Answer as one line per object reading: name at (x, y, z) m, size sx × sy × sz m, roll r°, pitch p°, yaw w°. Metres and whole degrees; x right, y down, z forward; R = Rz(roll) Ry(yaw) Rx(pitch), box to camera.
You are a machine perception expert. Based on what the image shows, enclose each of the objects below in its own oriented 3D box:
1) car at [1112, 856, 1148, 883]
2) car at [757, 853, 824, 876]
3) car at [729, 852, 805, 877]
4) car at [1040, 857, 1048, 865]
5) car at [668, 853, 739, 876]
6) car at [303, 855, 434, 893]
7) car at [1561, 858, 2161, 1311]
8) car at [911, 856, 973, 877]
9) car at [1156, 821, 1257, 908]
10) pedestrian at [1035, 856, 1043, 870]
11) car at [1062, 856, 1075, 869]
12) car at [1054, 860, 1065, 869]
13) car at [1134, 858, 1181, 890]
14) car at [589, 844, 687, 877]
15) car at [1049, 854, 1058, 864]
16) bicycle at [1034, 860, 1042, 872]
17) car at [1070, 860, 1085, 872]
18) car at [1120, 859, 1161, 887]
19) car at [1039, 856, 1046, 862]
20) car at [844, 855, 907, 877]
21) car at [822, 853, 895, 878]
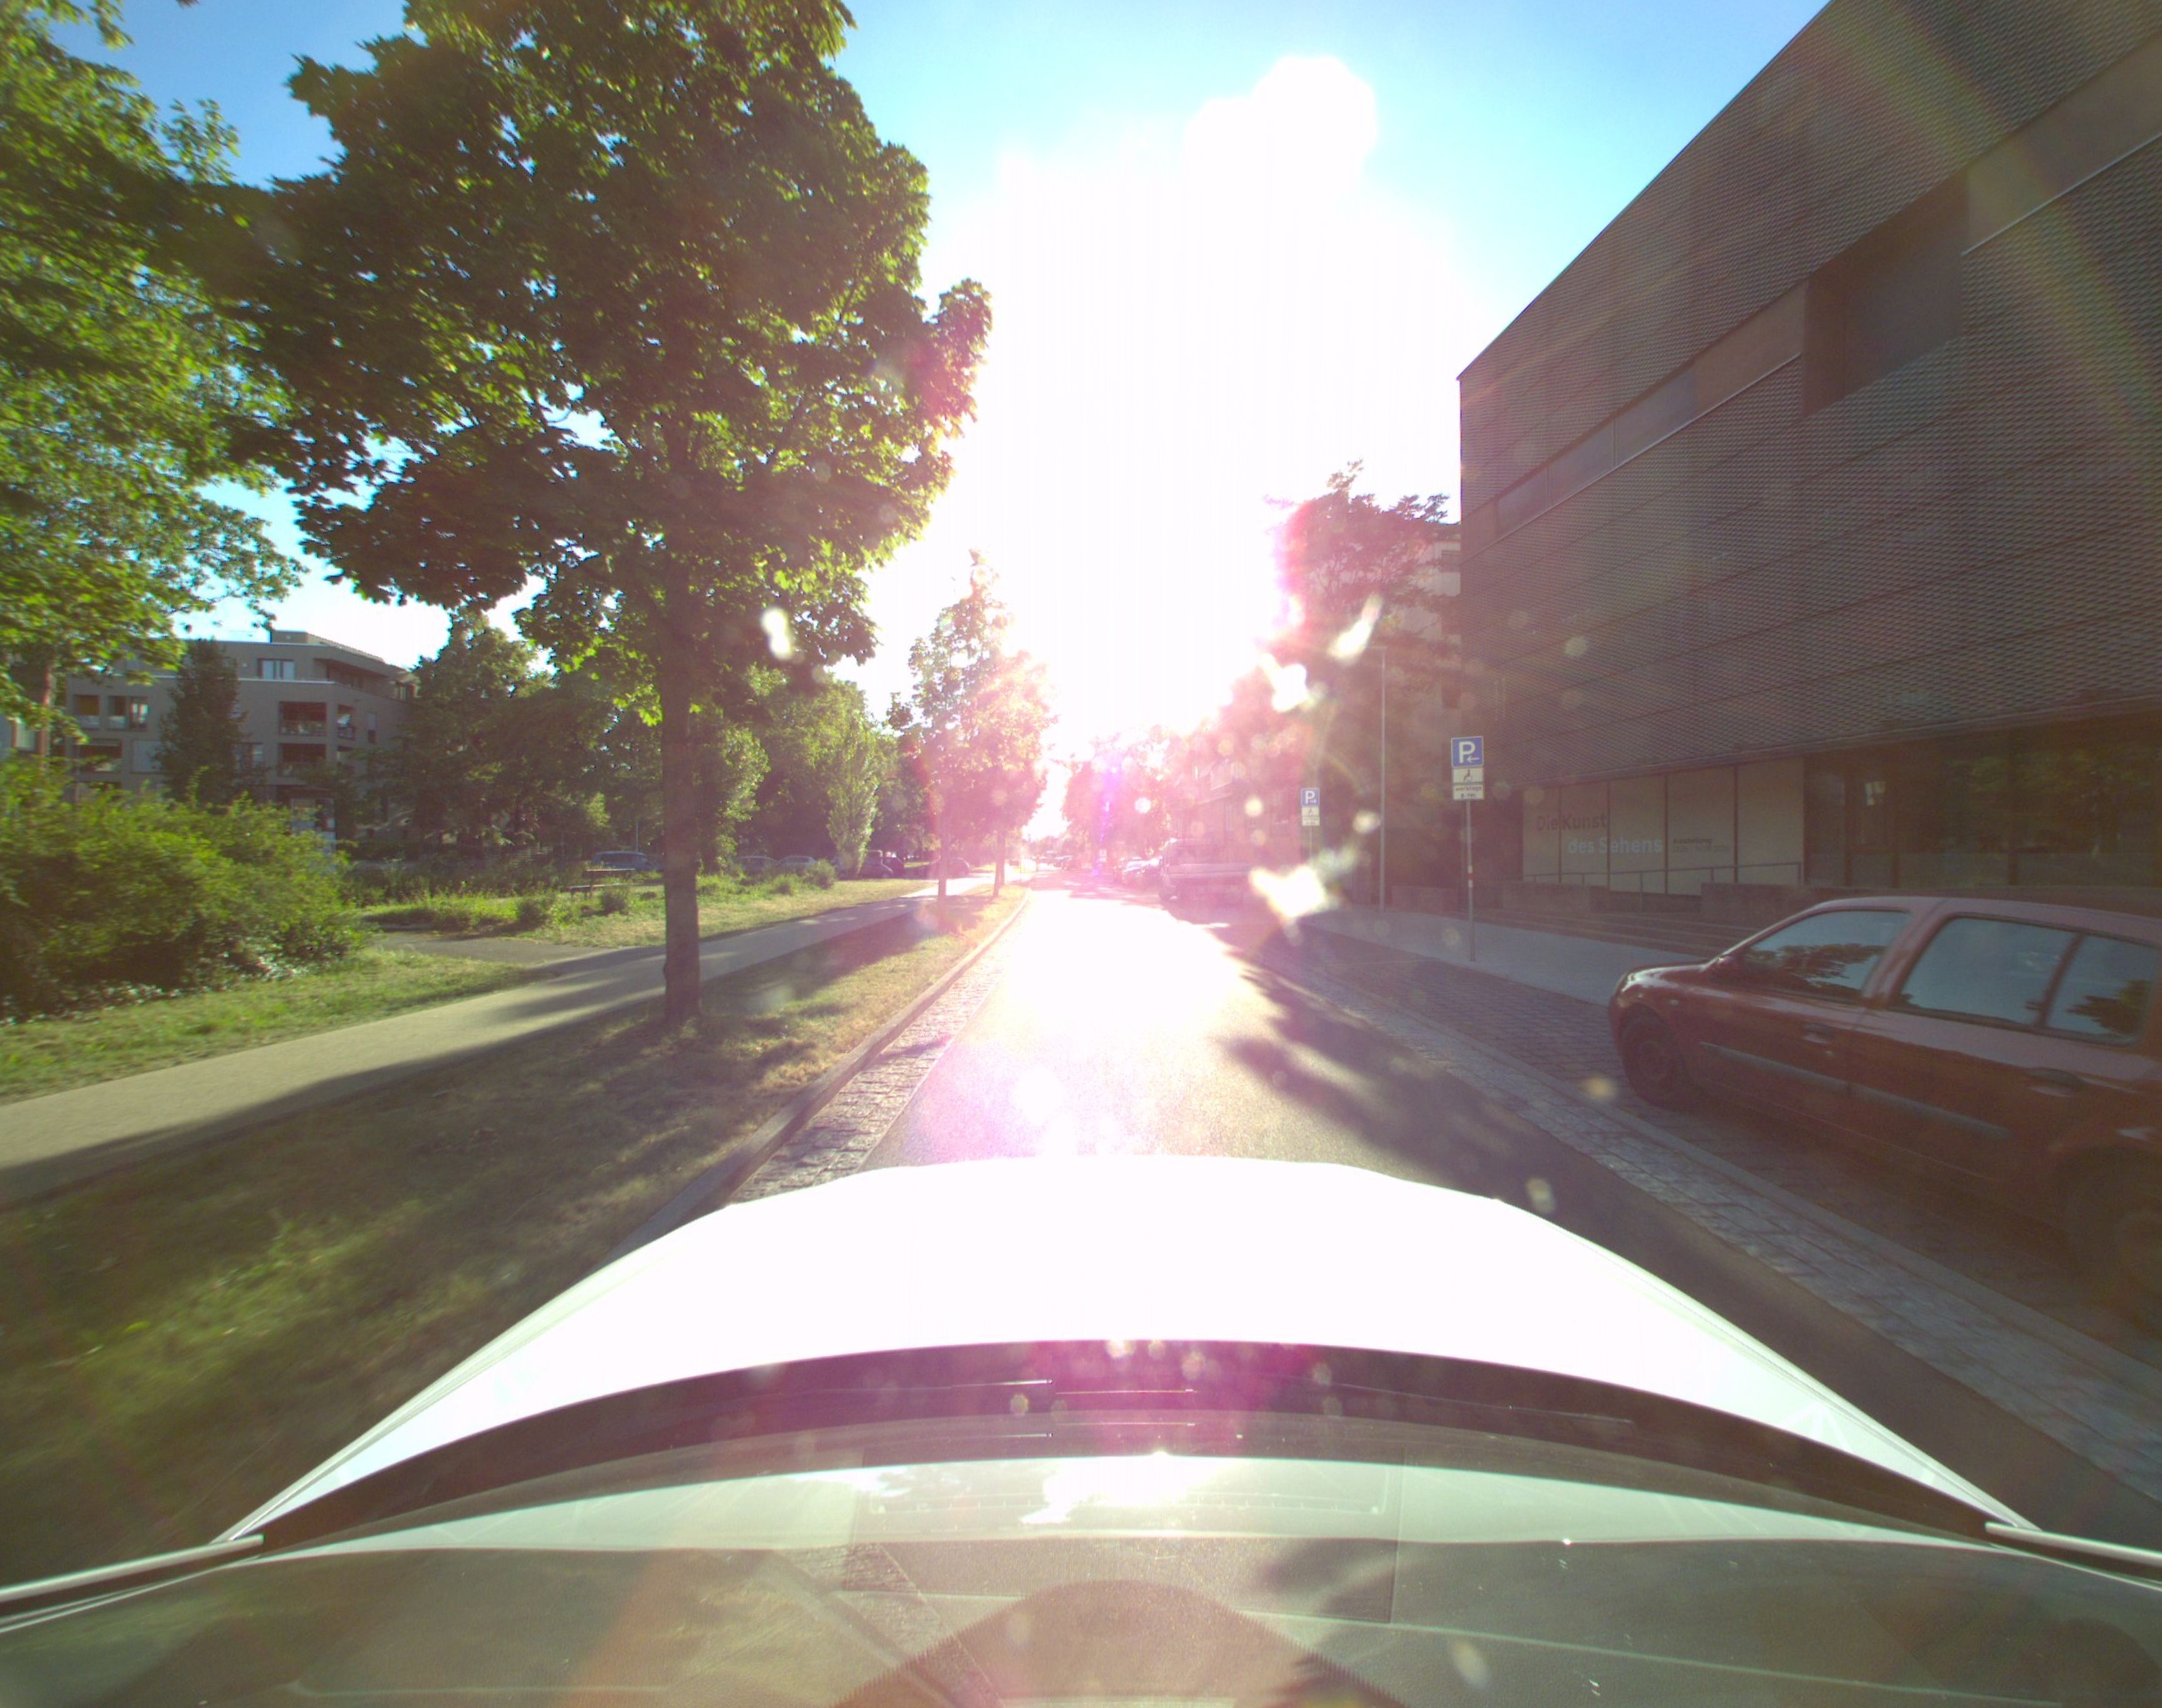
car at (2.935, 0.940, 49.451) m, size 1.687 × 1.565 × 4.099 m, roll 0°, pitch 0°, yaw -3°
car at (-19.253, 0.713, 53.929) m, size 4.007 × 1.420 × 1.757 m, roll 1°, pitch -1°, yaw -26°
car at (-18.427, 0.627, 47.769) m, size 4.008 × 1.420 × 1.756 m, roll 1°, pitch -1°, yaw -27°
car at (-9.568, 1.737, 210.046) m, size 1.989 × 1.970 × 3.996 m, roll 2°, pitch 0°, yaw -3°
car at (-23.893, 0.671, 51.685) m, size 4.005 × 1.420 × 1.758 m, roll 1°, pitch -1°, yaw -24°
car at (-23.779, 0.646, 27.317) m, size 1.521 × 1.160 × 3.101 m, roll 1°, pitch 0°, yaw 5°
car at (4.320, 0.734, 4.016) m, size 1.717 × 1.421 × 3.908 m, roll 0°, pitch 0°, yaw 2°
car at (-9.978, 0.909, 58.358) m, size 4.011 × 1.420 × 1.755 m, roll 1°, pitch -1°, yaw -30°
car at (3.997, 0.331, 27.180) m, size 2.205 × 2.530 × 6.143 m, roll -1°, pitch 0°, yaw -2°
pedestrian at (-4.497, 0.940, 86.916) m, size 0.686 × 1.434 × 1.024 m, roll 1°, pitch -1°, yaw 1°
car at (-1.813, 1.190, 116.260) m, size 1.789 × 1.724 × 3.997 m, roll 1°, pitch 0°, yaw -2°
car at (-3.670, 1.802, 137.407) m, size 1.789 × 1.510 × 3.997 m, roll 1°, pitch 0°, yaw -2°
car at (3.565, 0.913, 38.388) m, size 1.687 × 1.440 × 3.546 m, roll 0°, pitch 0°, yaw -3°
car at (-24.332, 0.360, 44.965) m, size 4.549 × 1.686 × 1.758 m, roll 1°, pitch -1°, yaw -23°
car at (-5.715, 1.086, 168.709) m, size 1.789 × 1.999 × 3.997 m, roll 1°, pitch 0°, yaw -2°
bicycle at (-4.567, 1.275, 86.882) m, size 0.686 × 1.202 × 2.343 m, roll 1°, pitch 0°, yaw 1°
car at (-0.467, 1.468, 102.306) m, size 1.787 × 1.510 × 4.000 m, roll 1°, pitch 0°, yaw 1°
car at (3.182, 0.967, 43.907) m, size 1.687 × 1.440 × 4.099 m, roll 0°, pitch 0°, yaw -3°
car at (-12.351, 1.699, 261.910) m, size 1.989 × 1.970 × 3.996 m, roll 2°, pitch 0°, yaw -3°
car at (-14.223, 0.815, 56.438) m, size 3.932 × 1.420 × 1.757 m, roll 1°, pitch -1°, yaw -26°
car at (-13.688, 0.717, 50.054) m, size 4.010 × 1.420 × 1.755 m, roll 1°, pitch -1°, yaw -29°
